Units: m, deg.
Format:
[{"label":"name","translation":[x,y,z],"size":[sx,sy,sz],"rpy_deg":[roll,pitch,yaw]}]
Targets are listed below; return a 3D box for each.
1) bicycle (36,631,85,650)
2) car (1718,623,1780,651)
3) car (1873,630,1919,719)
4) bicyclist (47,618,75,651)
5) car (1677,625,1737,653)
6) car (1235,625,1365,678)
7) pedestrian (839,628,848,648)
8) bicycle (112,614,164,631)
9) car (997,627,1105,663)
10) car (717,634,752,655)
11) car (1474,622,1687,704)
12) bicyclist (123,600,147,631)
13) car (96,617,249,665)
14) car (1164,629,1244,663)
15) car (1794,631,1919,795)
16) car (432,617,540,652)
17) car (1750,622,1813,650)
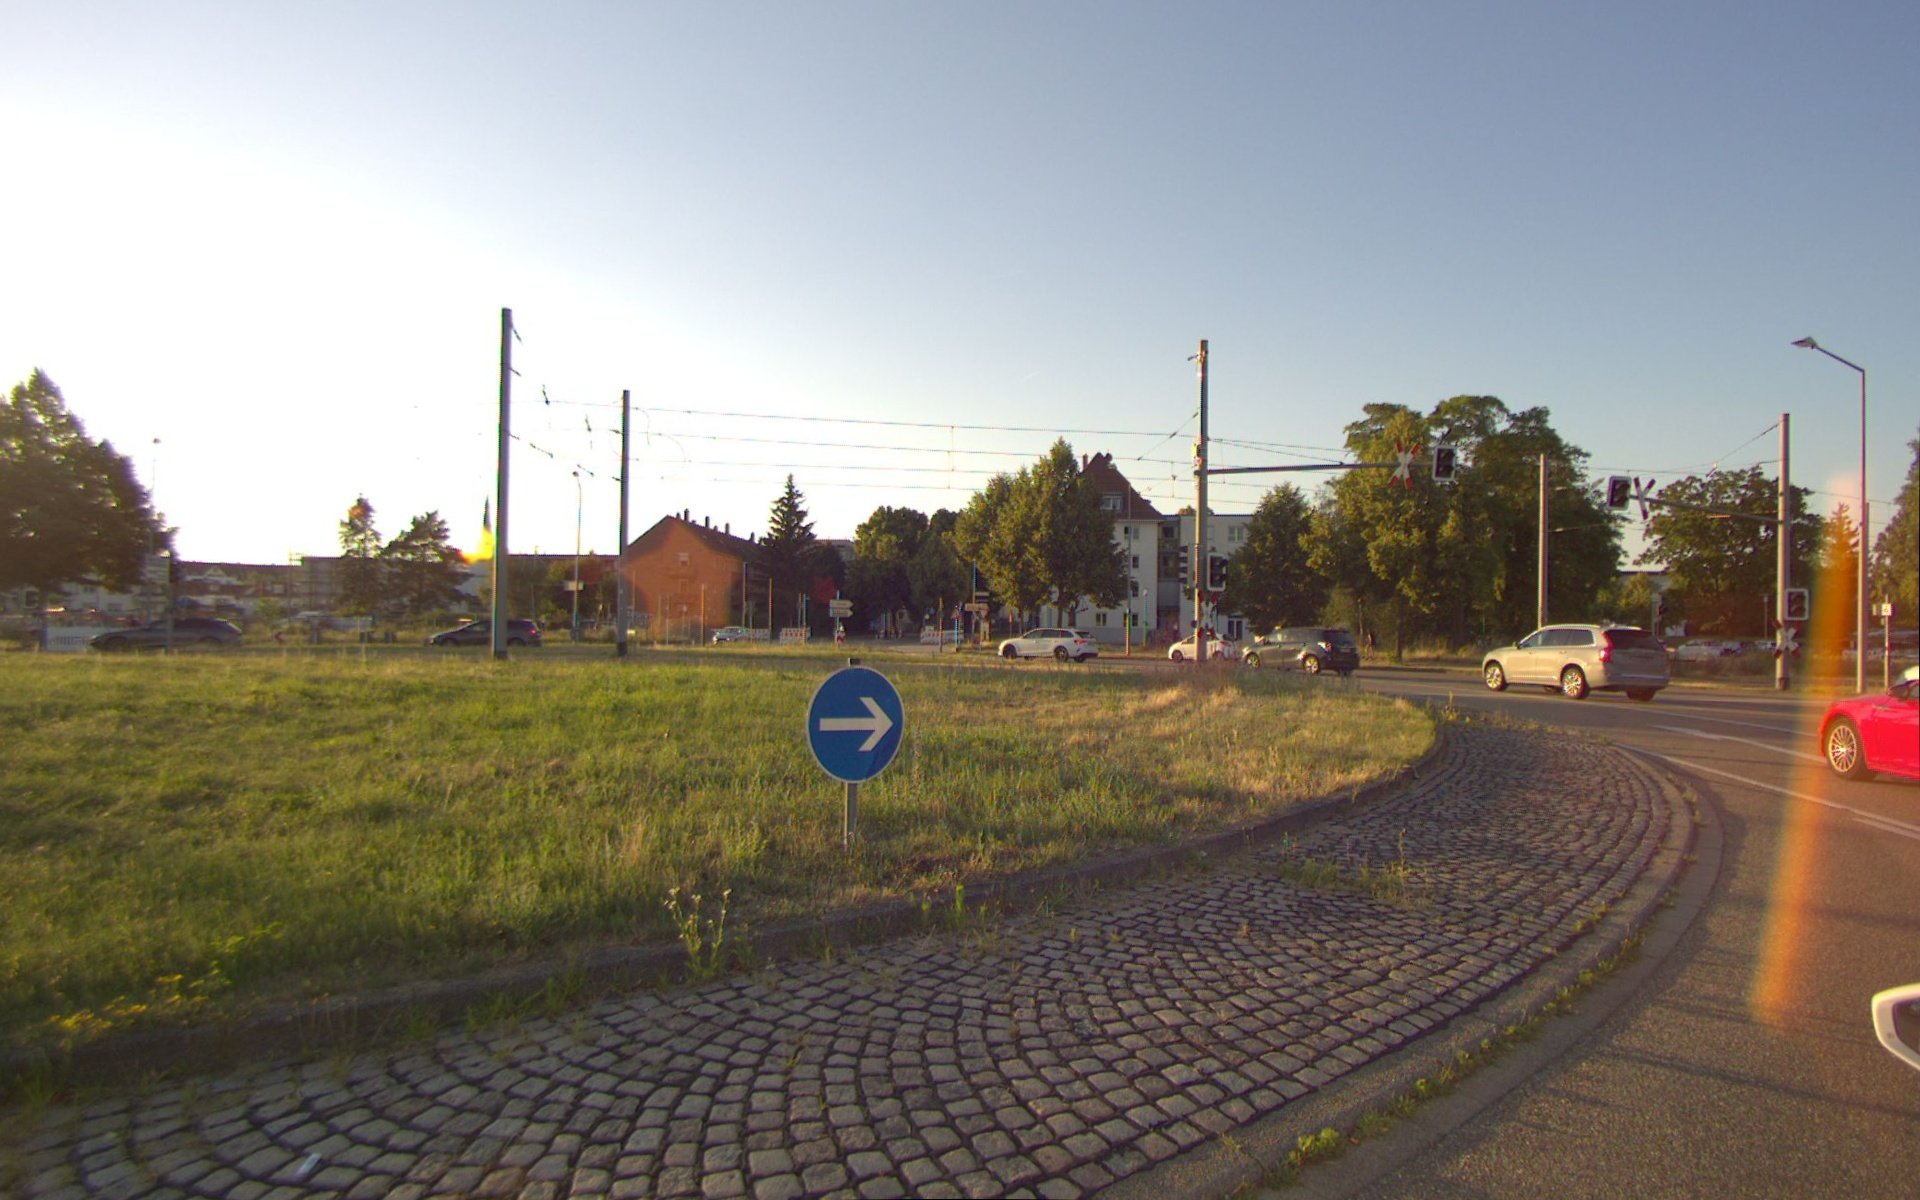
[{"label":"bicycle","translation":[-46.678,2.093,52.156],"size":[0.539,0.993,1.842],"rpy_deg":[0,-1,26]},{"label":"car","translation":[63.269,2.938,80.640],"size":[1.960,2.126,4.001],"rpy_deg":[1,-1,2]},{"label":"car","translation":[19.976,1.486,18.506],"size":[1.875,1.733,4.942],"rpy_deg":[1,0,1]},{"label":"bicyclist","translation":[-46.675,1.792,52.147],"size":[0.800,1.662,0.814],"rpy_deg":[0,-1,26]},{"label":"car","translation":[60.206,3.143,80.993],"size":[1.960,2.126,4.001],"rpy_deg":[1,-1,2]},{"label":"car","translation":[11.872,1.758,35.337],"size":[1.779,1.654,4.429],"rpy_deg":[2,-1,-24]},{"label":"pedestrian","translation":[-8.159,2.684,70.309],"size":[0.539,1.392,0.357],"rpy_deg":[1,-1,-18]},{"label":"bicycle","translation":[-43.950,1.210,53.706],"size":[2.102,0.857,0.510],"rpy_deg":[0,-1,-19]},{"label":"car","translation":[3.932,1.950,43.915],"size":[4.477,1.468,1.721],"rpy_deg":[-1,-1,37]},{"label":"car","translation":[-16.909,3.331,75.474],"size":[1.596,1.506,4.001],"rpy_deg":[1,-1,2]},{"label":"car","translation":[15.184,1.469,24.983],"size":[1.886,1.777,4.917],"rpy_deg":[2,-1,-6]},{"label":"bicyclist","translation":[-43.984,0.844,53.549],"size":[0.786,1.655,0.693],"rpy_deg":[0,-1,-18]},{"label":"car","translation":[-30.716,1.563,39.383],"size":[4.548,1.771,1.736],"rpy_deg":[1,-1,-33]},{"label":"car","translation":[11.746,2.212,48.413],"size":[3.435,1.462,1.546],"rpy_deg":[1,-1,41]},{"label":"car","translation":[9.685,1.067,8.825],"size":[1.808,1.480,4.583],"rpy_deg":[0,0,14]},{"label":"car","translation":[-20.683,1.510,43.981],"size":[4.069,1.486,1.745],"rpy_deg":[0,-1,-18]},{"label":"car","translation":[66.128,2.853,80.924],"size":[1.960,2.126,4.001],"rpy_deg":[1,-1,2]}]
